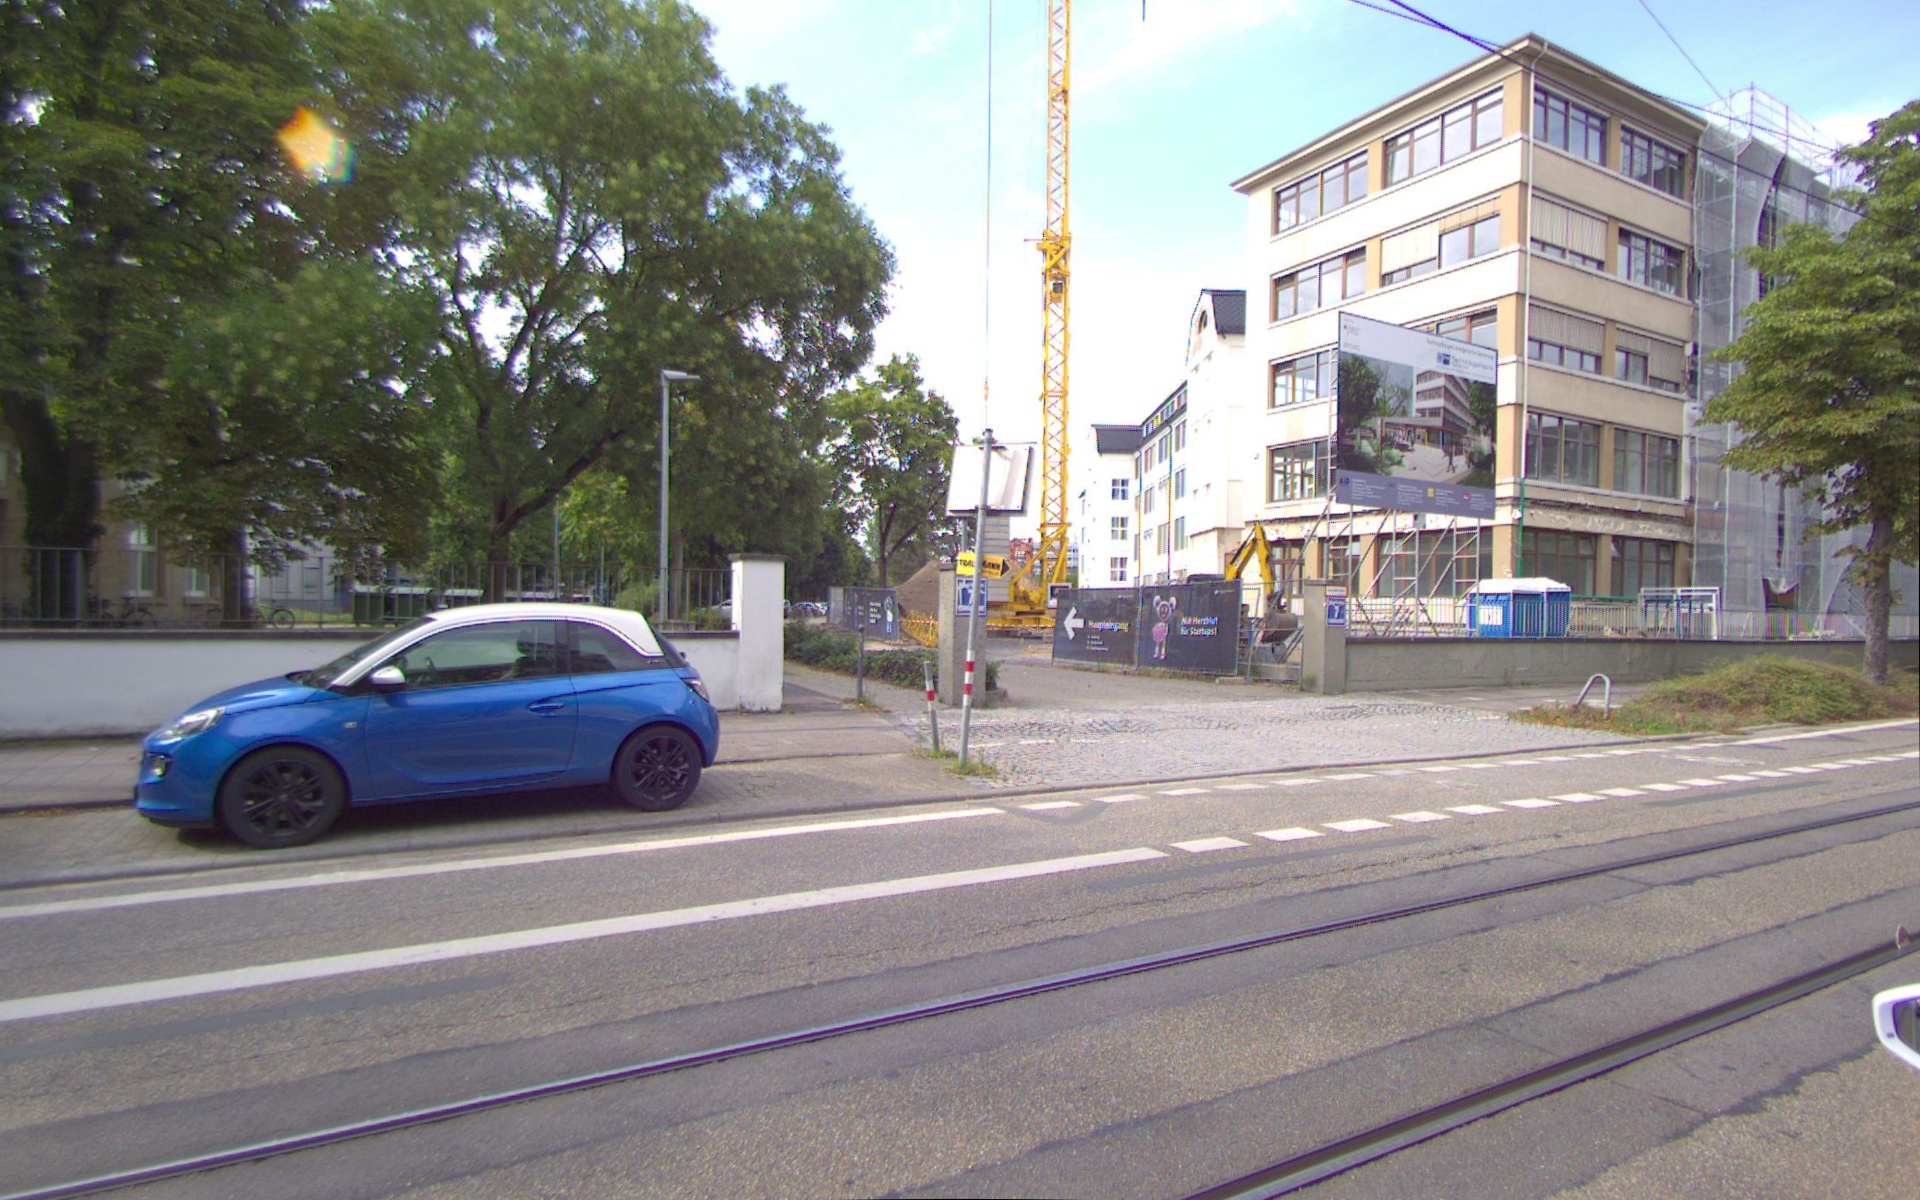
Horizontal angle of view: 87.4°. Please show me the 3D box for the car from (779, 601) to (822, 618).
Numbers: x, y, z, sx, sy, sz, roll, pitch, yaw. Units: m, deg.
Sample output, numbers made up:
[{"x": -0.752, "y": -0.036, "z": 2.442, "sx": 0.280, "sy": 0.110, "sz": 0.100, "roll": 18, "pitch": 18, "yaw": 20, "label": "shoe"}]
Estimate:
[{"x": -15.092, "y": 0.908, "z": 94.920, "sx": 3.927, "sy": 1.518, "sz": 1.911, "roll": 1, "pitch": 0, "yaw": -9, "label": "car"}]

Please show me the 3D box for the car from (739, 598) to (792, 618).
[{"x": -15.303, "y": 0.642, "z": 79.167, "sx": 3.927, "sy": 1.518, "sz": 1.911, "roll": 1, "pitch": 0, "yaw": -9, "label": "car"}]

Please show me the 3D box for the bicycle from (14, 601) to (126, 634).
[{"x": -22.153, "y": 0.435, "z": 25.034, "sx": 2.010, "sy": 0.783, "sz": 0.713, "roll": 1, "pitch": 1, "yaw": -10, "label": "bicycle"}]

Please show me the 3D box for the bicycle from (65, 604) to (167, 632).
[{"x": -22.471, "y": 0.472, "z": 26.783, "sx": 2.028, "sy": 0.718, "sz": 0.707, "roll": 1, "pitch": 1, "yaw": -37, "label": "bicycle"}]

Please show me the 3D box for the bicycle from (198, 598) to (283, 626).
[{"x": -22.181, "y": 0.367, "z": 31.014, "sx": 2.010, "sy": 0.783, "sz": 0.713, "roll": 1, "pitch": 1, "yaw": -10, "label": "bicycle"}]

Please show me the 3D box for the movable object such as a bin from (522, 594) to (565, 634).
[{"x": -13.788, "y": 0.464, "z": 33.244, "sx": 1.073, "sy": 1.290, "sz": 0.861, "roll": 1, "pitch": 1, "yaw": -3, "label": "movable object such as a bin"}]

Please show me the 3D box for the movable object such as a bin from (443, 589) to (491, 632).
[{"x": -16.444, "y": 0.347, "z": 33.517, "sx": 1.180, "sy": 1.393, "sz": 0.861, "roll": 1, "pitch": 1, "yaw": -3, "label": "movable object such as a bin"}]

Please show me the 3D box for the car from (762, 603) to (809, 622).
[{"x": -14.864, "y": 1.023, "z": 85.745, "sx": 3.927, "sy": 1.518, "sz": 1.911, "roll": 1, "pitch": 0, "yaw": -9, "label": "car"}]

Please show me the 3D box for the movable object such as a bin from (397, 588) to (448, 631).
[{"x": -17.864, "y": 0.315, "z": 33.390, "sx": 1.180, "sy": 1.393, "sz": 0.970, "roll": 1, "pitch": 1, "yaw": -3, "label": "movable object such as a bin"}]

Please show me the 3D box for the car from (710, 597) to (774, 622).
[{"x": -13.963, "y": 0.626, "z": 64.511, "sx": 3.927, "sy": 1.518, "sz": 1.911, "roll": 1, "pitch": 0, "yaw": -9, "label": "car"}]

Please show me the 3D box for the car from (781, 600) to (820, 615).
[{"x": -16.563, "y": 0.761, "z": 104.285, "sx": 3.927, "sy": 1.518, "sz": 1.911, "roll": 1, "pitch": 0, "yaw": -9, "label": "car"}]

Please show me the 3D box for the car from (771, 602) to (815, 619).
[{"x": -15.293, "y": 0.941, "z": 92.254, "sx": 3.927, "sy": 1.518, "sz": 1.911, "roll": 1, "pitch": 0, "yaw": -9, "label": "car"}]

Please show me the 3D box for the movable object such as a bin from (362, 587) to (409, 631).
[{"x": -19.086, "y": 0.287, "z": 33.390, "sx": 1.001, "sy": 1.393, "sz": 0.970, "roll": 1, "pitch": 1, "yaw": -3, "label": "movable object such as a bin"}]

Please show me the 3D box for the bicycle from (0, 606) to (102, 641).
[{"x": -21.965, "y": 0.565, "z": 24.094, "sx": 2.010, "sy": 0.783, "sz": 0.713, "roll": 1, "pitch": 1, "yaw": -10, "label": "bicycle"}]

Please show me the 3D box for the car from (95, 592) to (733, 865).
[{"x": -3.684, "y": 0.745, "z": 7.284, "sx": 3.634, "sy": 1.507, "sz": 1.685, "roll": 1, "pitch": 1, "yaw": -30, "label": "car"}]

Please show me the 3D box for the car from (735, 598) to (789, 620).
[{"x": -14.913, "y": 0.679, "z": 75.881, "sx": 3.927, "sy": 1.518, "sz": 1.911, "roll": 1, "pitch": 0, "yaw": -9, "label": "car"}]

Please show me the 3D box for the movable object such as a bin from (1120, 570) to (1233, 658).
[{"x": 5.393, "y": 0.350, "z": 25.156, "sx": 1.935, "sy": 2.095, "sz": 1.979, "roll": 1, "pitch": 0, "yaw": -27, "label": "movable object such as a bin"}]

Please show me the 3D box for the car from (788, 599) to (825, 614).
[{"x": -16.542, "y": 0.721, "z": 108.402, "sx": 3.927, "sy": 1.518, "sz": 1.911, "roll": 1, "pitch": 0, "yaw": -9, "label": "car"}]

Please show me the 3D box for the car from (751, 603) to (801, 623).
[{"x": -15.076, "y": 1.056, "z": 82.311, "sx": 3.927, "sy": 1.518, "sz": 1.911, "roll": 1, "pitch": 0, "yaw": -9, "label": "car"}]

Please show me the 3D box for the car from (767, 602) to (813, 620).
[{"x": -14.994, "y": 0.989, "z": 88.549, "sx": 3.927, "sy": 1.518, "sz": 1.911, "roll": 1, "pitch": 0, "yaw": -9, "label": "car"}]

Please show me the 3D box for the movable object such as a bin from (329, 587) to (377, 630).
[{"x": -20.155, "y": 0.262, "z": 33.357, "sx": 1.001, "sy": 1.393, "sz": 0.970, "roll": 1, "pitch": 1, "yaw": -3, "label": "movable object such as a bin"}]

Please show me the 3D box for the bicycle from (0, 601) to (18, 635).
[{"x": -21.888, "y": 0.370, "z": 21.824, "sx": 2.010, "sy": 0.718, "sz": 0.713, "roll": 1, "pitch": 1, "yaw": -10, "label": "bicycle"}]

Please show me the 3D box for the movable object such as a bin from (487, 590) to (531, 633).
[{"x": -15.023, "y": 0.381, "z": 33.466, "sx": 1.073, "sy": 1.393, "sz": 0.861, "roll": 1, "pitch": 1, "yaw": -3, "label": "movable object such as a bin"}]
